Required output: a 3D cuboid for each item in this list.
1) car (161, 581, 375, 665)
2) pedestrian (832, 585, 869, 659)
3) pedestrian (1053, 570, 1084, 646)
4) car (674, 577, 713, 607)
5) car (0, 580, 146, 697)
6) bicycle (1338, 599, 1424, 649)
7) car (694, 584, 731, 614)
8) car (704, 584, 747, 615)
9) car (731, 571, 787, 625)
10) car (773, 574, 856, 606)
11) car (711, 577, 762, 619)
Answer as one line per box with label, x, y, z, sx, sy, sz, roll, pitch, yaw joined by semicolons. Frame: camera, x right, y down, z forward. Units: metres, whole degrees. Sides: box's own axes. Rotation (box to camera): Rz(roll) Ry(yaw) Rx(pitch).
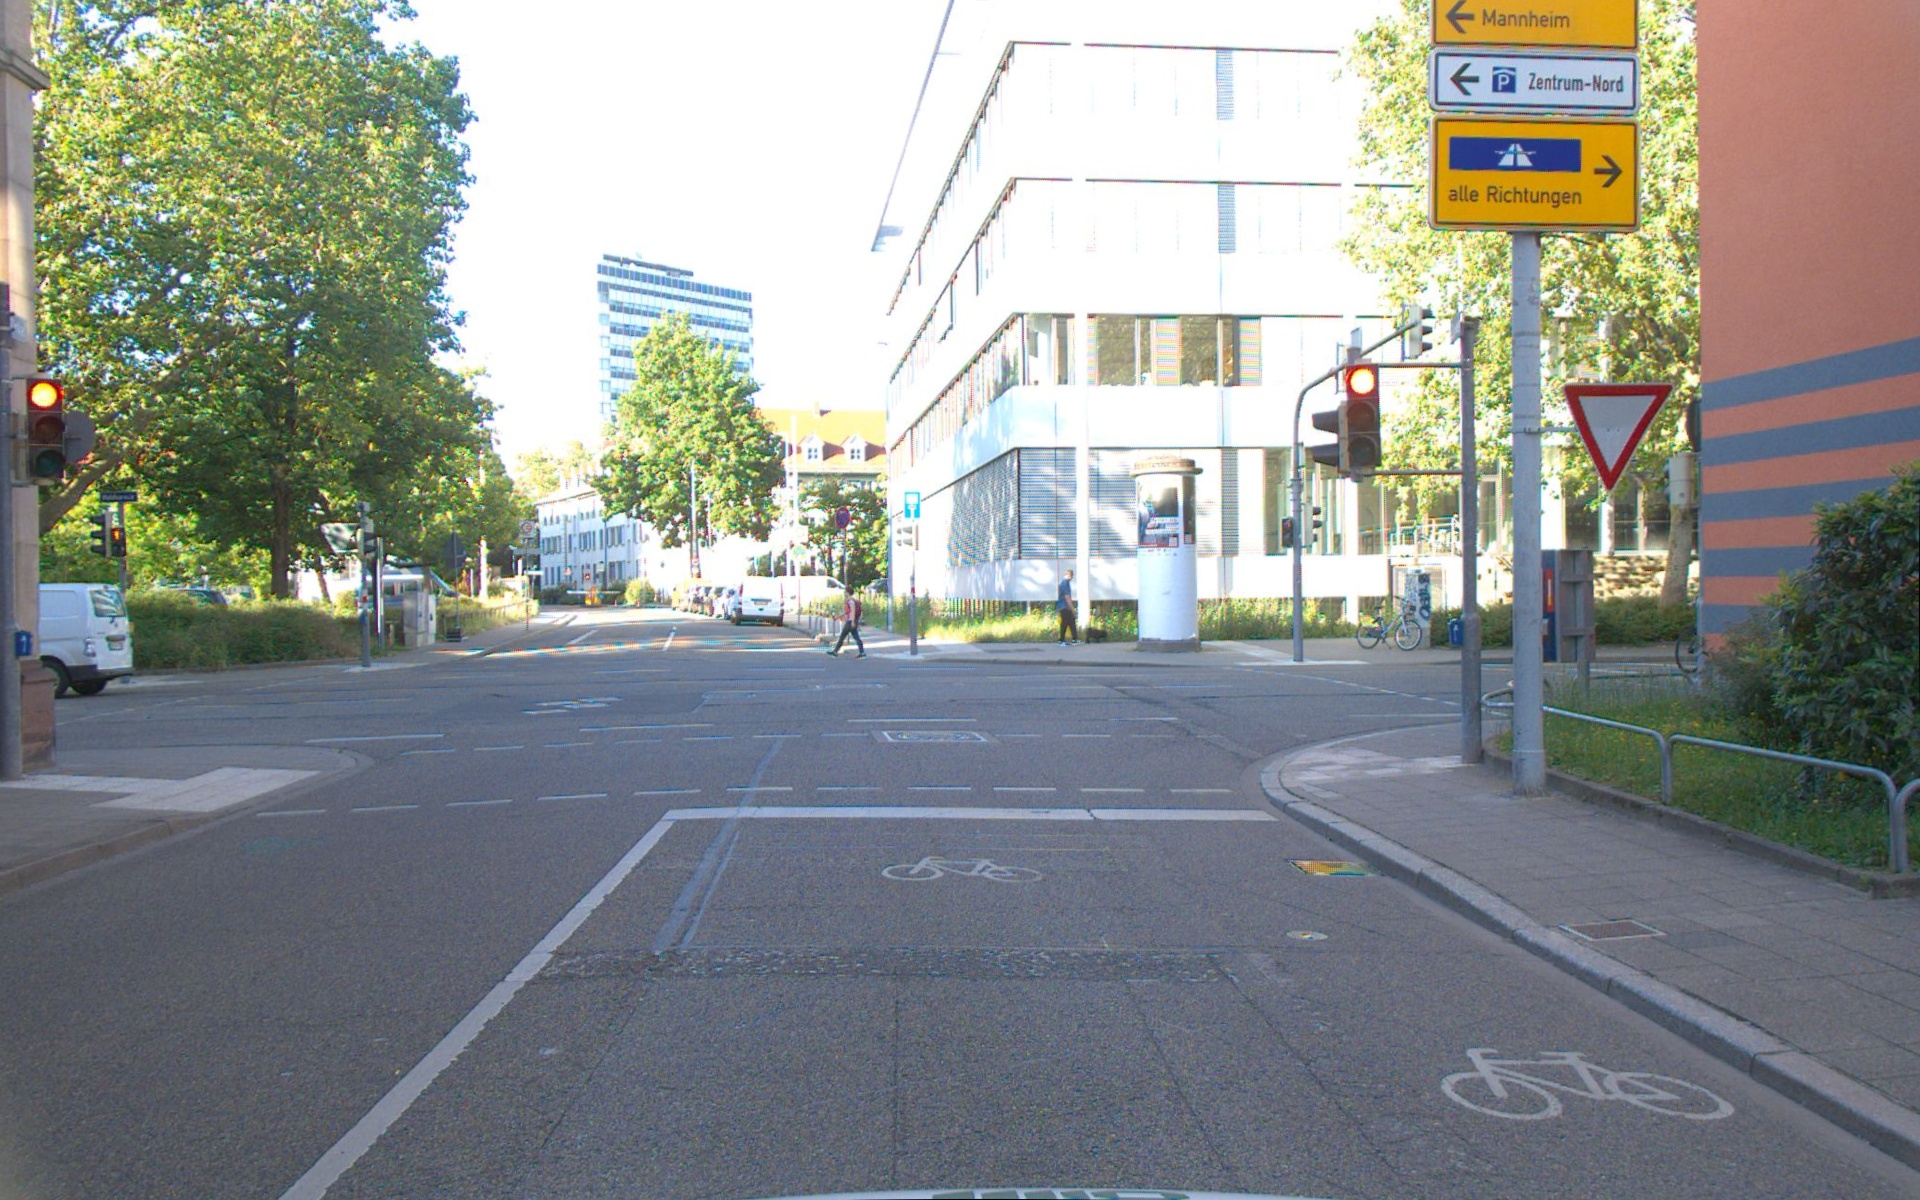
car;-15.776;0.505;37.906;4.146;1.808;1.901;-1;0;-9
pedestrian;-2.445;0.494;36.877;0.696;1.627;0.618;-1;0;6
pedestrian;2.551;0.182;38.987;0.638;1.766;0.813;-1;0;8
car;-15.394;-0.470;95.427;2.063;1.687;4.463;-1;1;-11
car;-16.064;0.654;27.171;4.454;1.831;1.634;-2;1;-8
bicycle;9.211;0.509;36.250;0.460;1.067;1.886;-1;1;-42
car;-12.862;-0.054;85.643;1.674;1.490;4.226;-1;1;-11
car;-11.497;-0.020;80.831;1.675;1.449;4.223;-1;1;-14
car;-7.875;-0.095;64.523;2.029;1.997;4.229;-1;1;-9
car;-9.032;-0.590;102.726;4.804;1.905;1.990;1;0;-17
car;-10.312;-0.108;76.164;1.913;1.826;4.224;-1;1;-13
